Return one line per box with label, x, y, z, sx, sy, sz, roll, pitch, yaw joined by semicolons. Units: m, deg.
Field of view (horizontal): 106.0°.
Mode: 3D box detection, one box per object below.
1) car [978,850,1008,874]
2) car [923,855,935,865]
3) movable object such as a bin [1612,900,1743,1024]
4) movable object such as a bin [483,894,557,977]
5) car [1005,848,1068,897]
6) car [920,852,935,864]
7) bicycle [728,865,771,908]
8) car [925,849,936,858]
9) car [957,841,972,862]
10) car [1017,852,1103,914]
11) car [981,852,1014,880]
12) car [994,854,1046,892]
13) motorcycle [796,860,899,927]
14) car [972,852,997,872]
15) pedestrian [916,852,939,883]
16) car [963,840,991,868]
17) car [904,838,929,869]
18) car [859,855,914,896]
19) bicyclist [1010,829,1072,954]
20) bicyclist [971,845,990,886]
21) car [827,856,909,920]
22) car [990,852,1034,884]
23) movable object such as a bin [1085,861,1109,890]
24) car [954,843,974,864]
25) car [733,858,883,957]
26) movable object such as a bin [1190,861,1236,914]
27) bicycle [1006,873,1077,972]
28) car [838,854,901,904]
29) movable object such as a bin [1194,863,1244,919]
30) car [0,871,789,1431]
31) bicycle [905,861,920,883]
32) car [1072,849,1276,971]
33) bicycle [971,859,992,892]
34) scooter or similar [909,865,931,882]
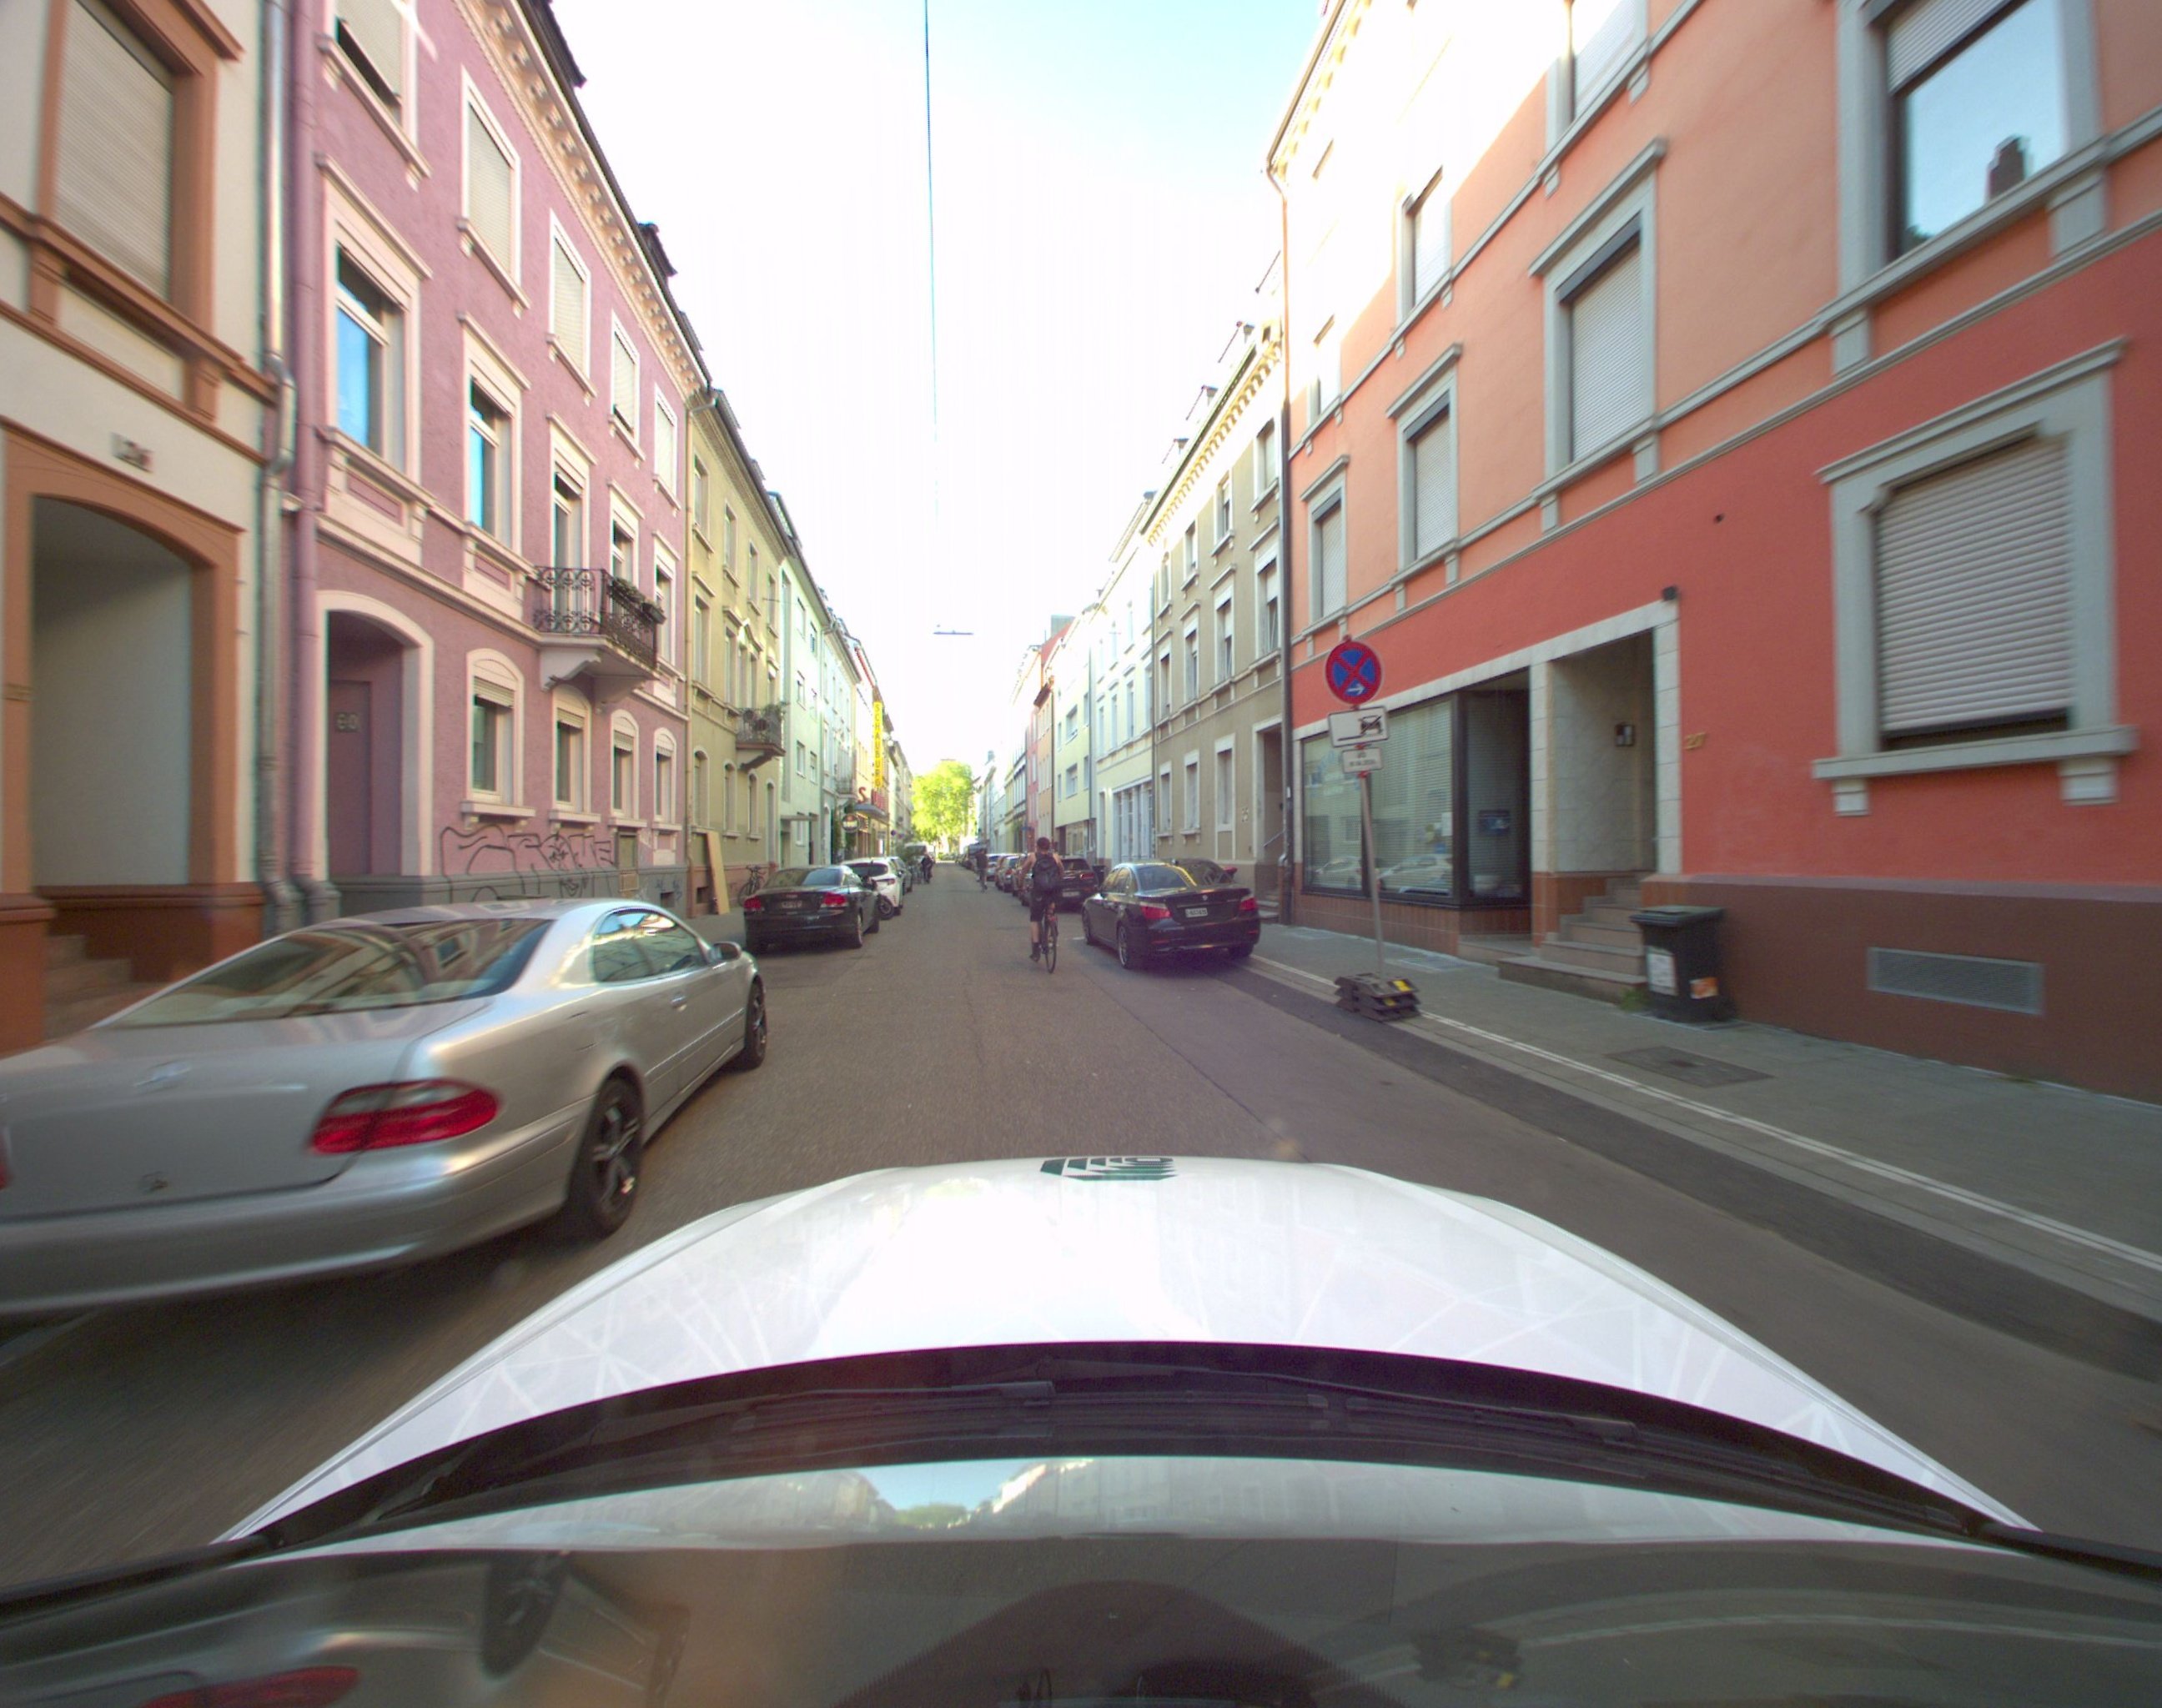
car;-5.823;0.520;53.657;1.711;1.393;3.986;-3;0;-10
car;-22.865;0.903;122.859;1.672;1.441;4.151;-3;0;-10
movable object such as a bin;4.905;0.865;6.724;0.597;0.906;0.577;-3;-1;-11
movable object such as a bin;-6.659;0.954;9.679;0.543;0.945;0.486;1;-1;-9
car;-1.632;0.617;28.753;1.711;1.556;3.986;-3;0;-10
car;-18.936;0.481;100.527;1.672;1.441;4.151;-3;0;-10
bicycle;-8.959;0.863;22.074;0.592;1.089;2.072;1;-1;-9
car;-24.951;-0.034;135.230;1.672;1.441;4.151;-3;0;-10
car;-21.755;-0.408;151.919;2.308;3.767;6.746;-3;0;-10
car;-0.686;0.757;22.961;1.817;1.521;3.986;-3;0;-10
car;-5.016;0.687;48.279;1.621;1.550;3.986;-3;0;-10
car;-2.564;0.762;33.600;1.711;1.383;3.986;-3;0;-10
motorcycle;-5.385;0.890;18.862;2.159;1.359;0.535;-4;1;-28
car;-7.677;0.652;64.731;1.711;1.447;3.986;-3;0;-10
pedestrian;-7.941;0.673;42.154;0.763;1.578;0.905;0;-1;44
car;-10.293;0.062;80.225;2.308;2.537;6.746;-3;0;-10
car;-13.760;-0.047;68.151;1.911;2.496;4.148;-1;0;-12
car;-7.586;0.791;32.043;1.670;1.441;3.744;-3;0;-7
bicyclist;-0.567;0.494;11.210;0.702;1.633;1.086;1;-1;-10
bicyclist;-4.070;0.450;32.974;0.702;1.605;0.810;-1;1;-11
car;-5.530;0.827;21.574;1.672;1.441;4.151;-3;0;-10
car;-3.346;0.654;38.813;1.711;1.383;3.986;-3;0;-10
movable object such as a bin;0.617;0.817;31.782;0.806;1.075;0.676;-3;0;-5
car;-15.131;-0.051;105.124;2.308;2.537;6.746;-3;0;-10
car;-4.658;0.817;14.521;1.709;1.383;4.344;0;1;-8
movable object such as a bin;2.865;0.718;17.714;0.806;1.075;0.676;-3;0;-5
bicycle;-0.600;0.891;11.418;0.702;1.208;2.334;1;-1;-10
car;-6.957;0.779;27.069;1.672;1.441;3.755;-3;0;-10
movable object such as a bin;2.801;0.744;16.588;0.738;1.075;0.674;-3;0;-17
car;-2.949;0.860;4.475;1.711;1.383;4.490;-3;0;-10
bicycle;-8.984;0.937;43.338;0.700;1.105;2.264;1;-1;-13
car;1.170;0.706;12.612;1.817;1.438;4.774;-3;0;-10
bicycle;-4.070;0.844;33.074;0.702;1.207;2.334;-1;1;-10
scooter or similar;-8.273;1.011;41.800;0.763;0.873;0.775;0;-1;44
